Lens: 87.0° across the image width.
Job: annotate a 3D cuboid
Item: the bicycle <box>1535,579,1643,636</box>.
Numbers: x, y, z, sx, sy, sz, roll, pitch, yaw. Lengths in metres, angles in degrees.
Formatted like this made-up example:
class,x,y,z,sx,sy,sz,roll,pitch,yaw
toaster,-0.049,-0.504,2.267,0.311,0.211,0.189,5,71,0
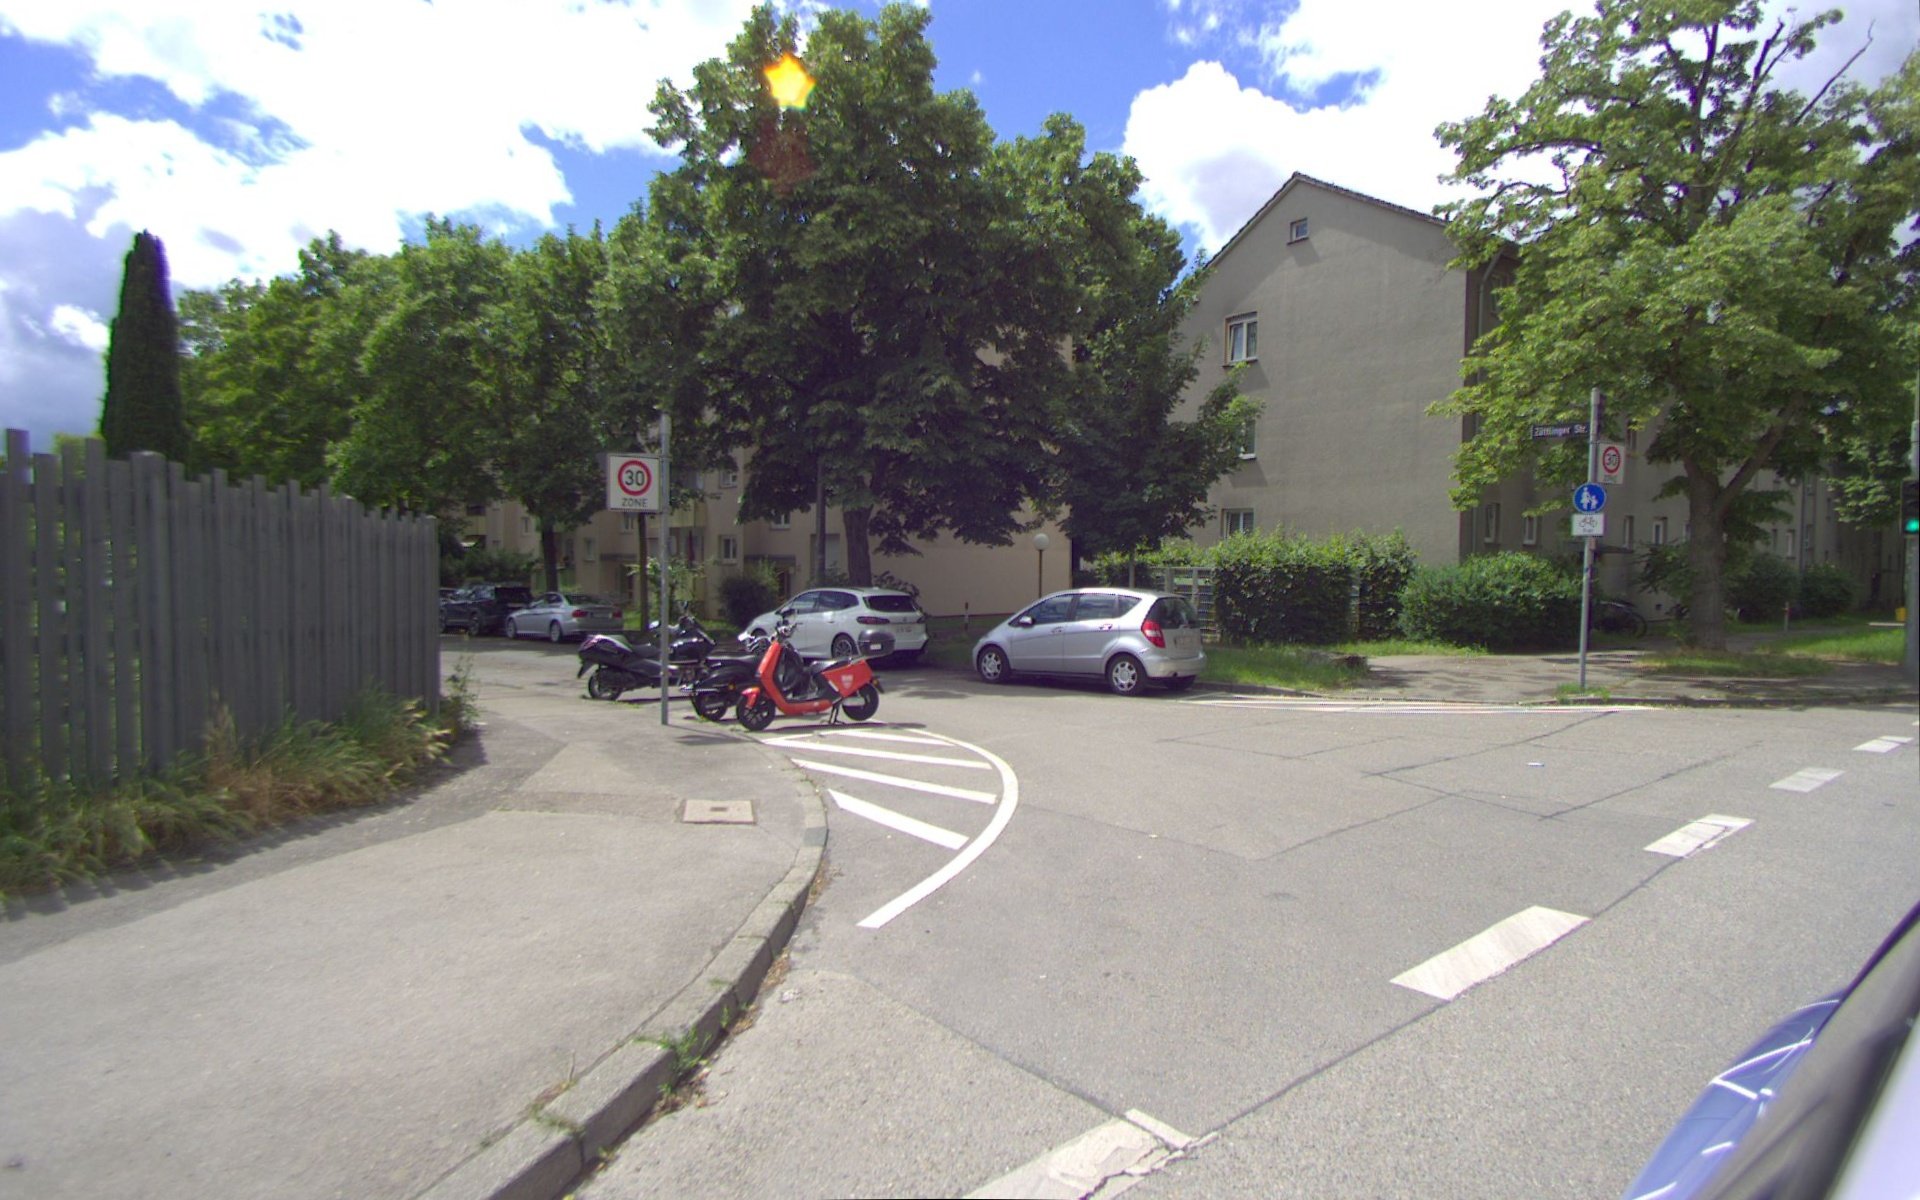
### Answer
class,x,y,z,sx,sy,sz,roll,pitch,yaw
bicycle,15.473,0.148,24.956,0.667,1.298,2.176,-1,2,-33

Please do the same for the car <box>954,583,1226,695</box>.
class,x,y,z,sx,sy,sz,roll,pitch,yaw
car,2.015,0.523,16.321,3.983,1.573,1.910,1,1,41

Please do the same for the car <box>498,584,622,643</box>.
class,x,y,z,sx,sy,sz,roll,pitch,yaw
car,-11.364,0.321,28.650,3.943,1.525,1.666,1,2,41

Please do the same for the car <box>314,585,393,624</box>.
class,x,y,z,sx,sy,sz,roll,pitch,yaw
car,-23.980,0.151,39.981,3.943,1.428,1.574,1,2,41

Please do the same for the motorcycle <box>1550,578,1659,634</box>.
class,x,y,z,sx,sy,sz,roll,pitch,yaw
motorcycle,16.119,0.123,25.385,0.667,1.298,2.213,-1,2,-33

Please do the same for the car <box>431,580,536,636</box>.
class,x,y,z,sx,sy,sz,roll,pitch,yaw
car,-15.106,0.208,31.980,3.943,1.640,1.574,1,1,41

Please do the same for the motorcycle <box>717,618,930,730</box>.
class,x,y,z,sx,sy,sz,roll,pitch,yaw
motorcycle,-1.581,0.822,11.869,2.374,1.163,0.662,-1,0,-23

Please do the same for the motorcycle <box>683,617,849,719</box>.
class,x,y,z,sx,sy,sz,roll,pitch,yaw
motorcycle,-2.441,0.820,12.752,1.952,1.163,0.662,-1,0,-23

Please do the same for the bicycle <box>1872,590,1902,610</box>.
class,x,y,z,sx,sy,sz,roll,pitch,yaw
bicycle,52.562,-0.009,57.411,0.430,1.094,1.747,-1,1,13

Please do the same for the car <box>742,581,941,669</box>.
class,x,y,z,sx,sy,sz,roll,pitch,yaw
car,-2.445,0.440,20.347,4.001,1.583,1.756,1,0,41

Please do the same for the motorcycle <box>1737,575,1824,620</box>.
class,x,y,z,sx,sy,sz,roll,pitch,yaw
motorcycle,27.417,-0.100,33.837,0.997,1.447,2.006,0,2,-31

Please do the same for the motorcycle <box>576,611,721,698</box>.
class,x,y,z,sx,sy,sz,roll,pitch,yaw
motorcycle,-4.525,0.767,14.736,1.952,1.163,0.662,-1,0,-23

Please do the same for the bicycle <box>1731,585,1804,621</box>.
class,x,y,z,sx,sy,sz,roll,pitch,yaw
bicycle,26.546,0.080,33.281,0.446,1.098,1.804,0,2,-36

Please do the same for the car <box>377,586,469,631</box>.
class,x,y,z,sx,sy,sz,roll,pitch,yaw
car,-18.880,0.254,35.545,3.943,1.428,1.574,1,2,41
